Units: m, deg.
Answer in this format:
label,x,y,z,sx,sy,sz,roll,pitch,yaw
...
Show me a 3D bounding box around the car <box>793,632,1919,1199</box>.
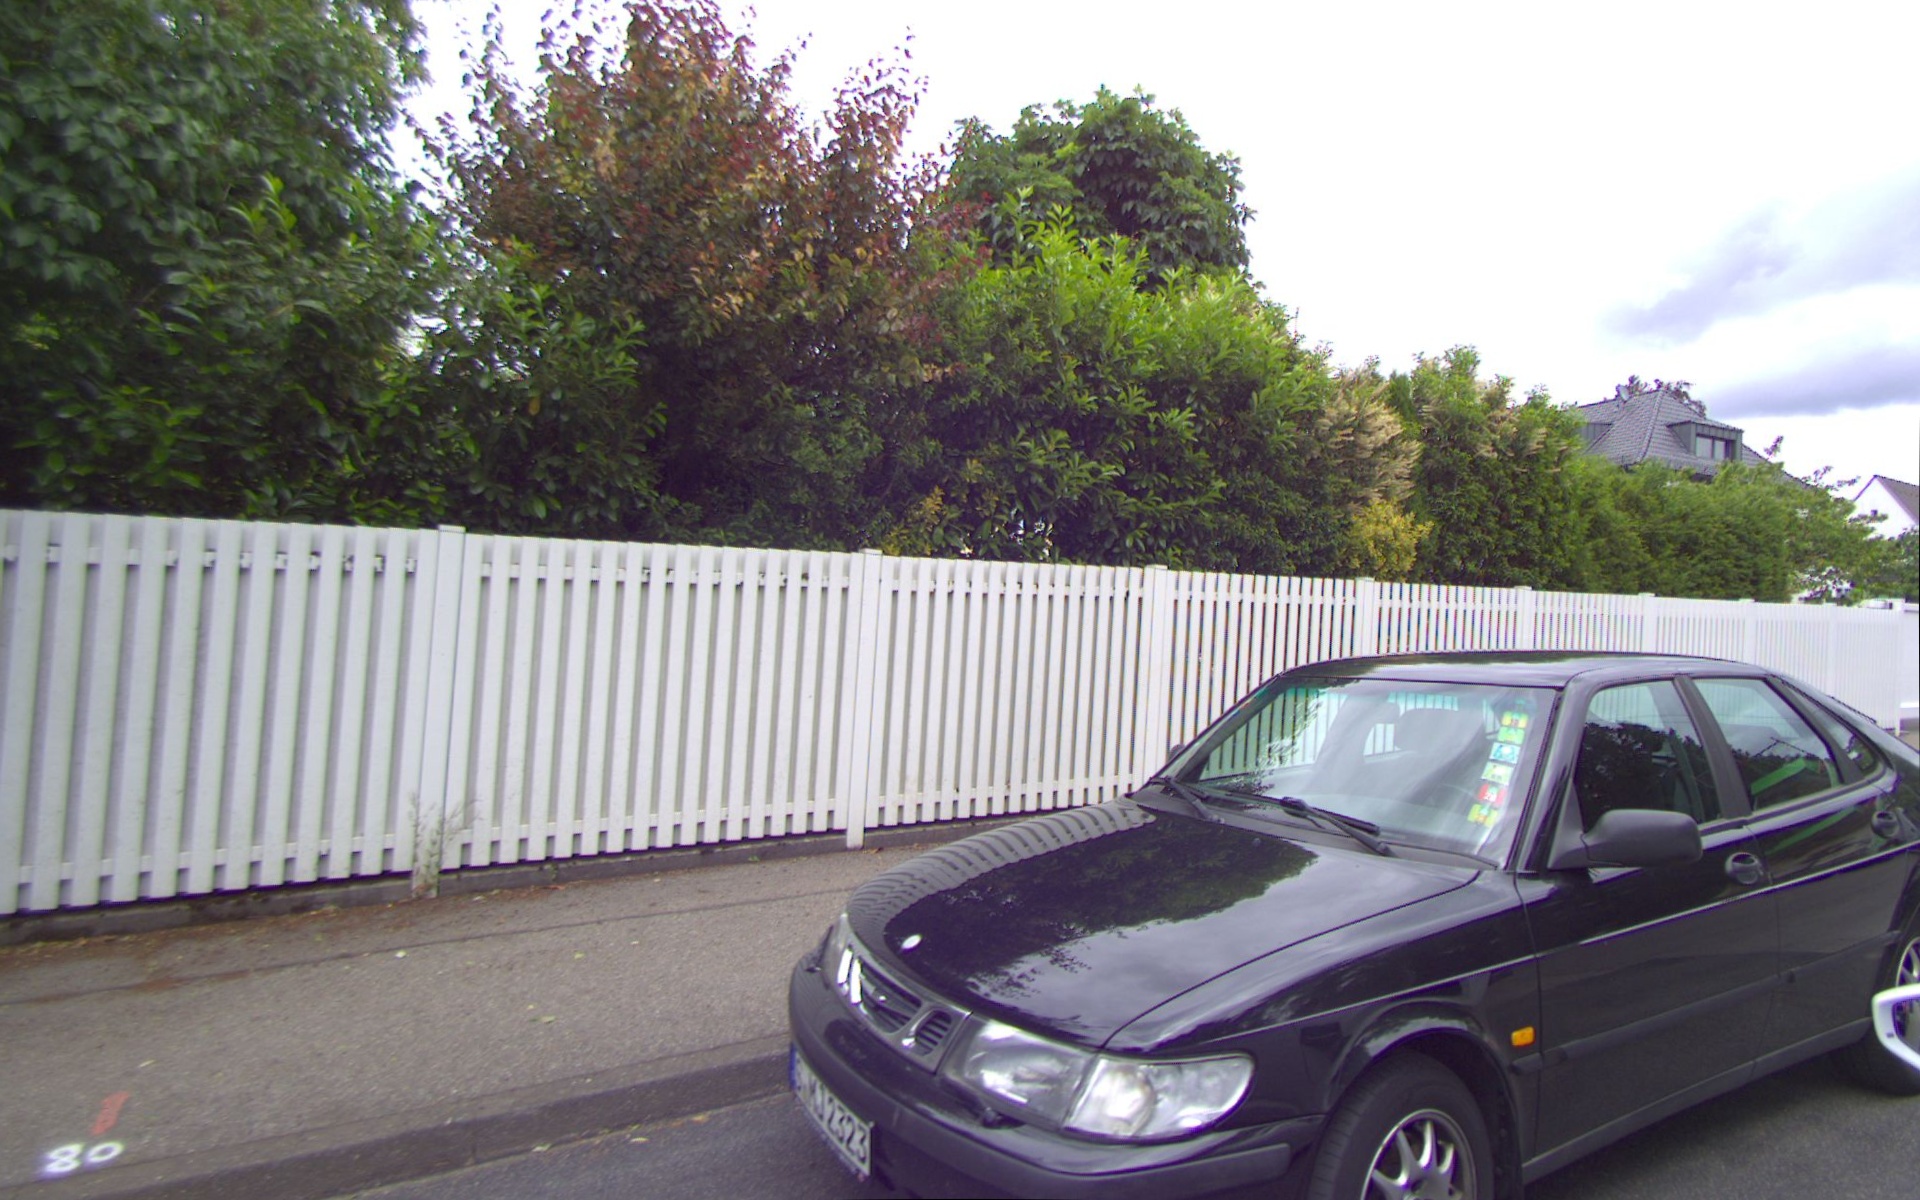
label,x,y,z,sx,sy,sz,roll,pitch,yaw
car,1.847,0.870,3.417,4.492,1.440,1.634,2,-3,-28
